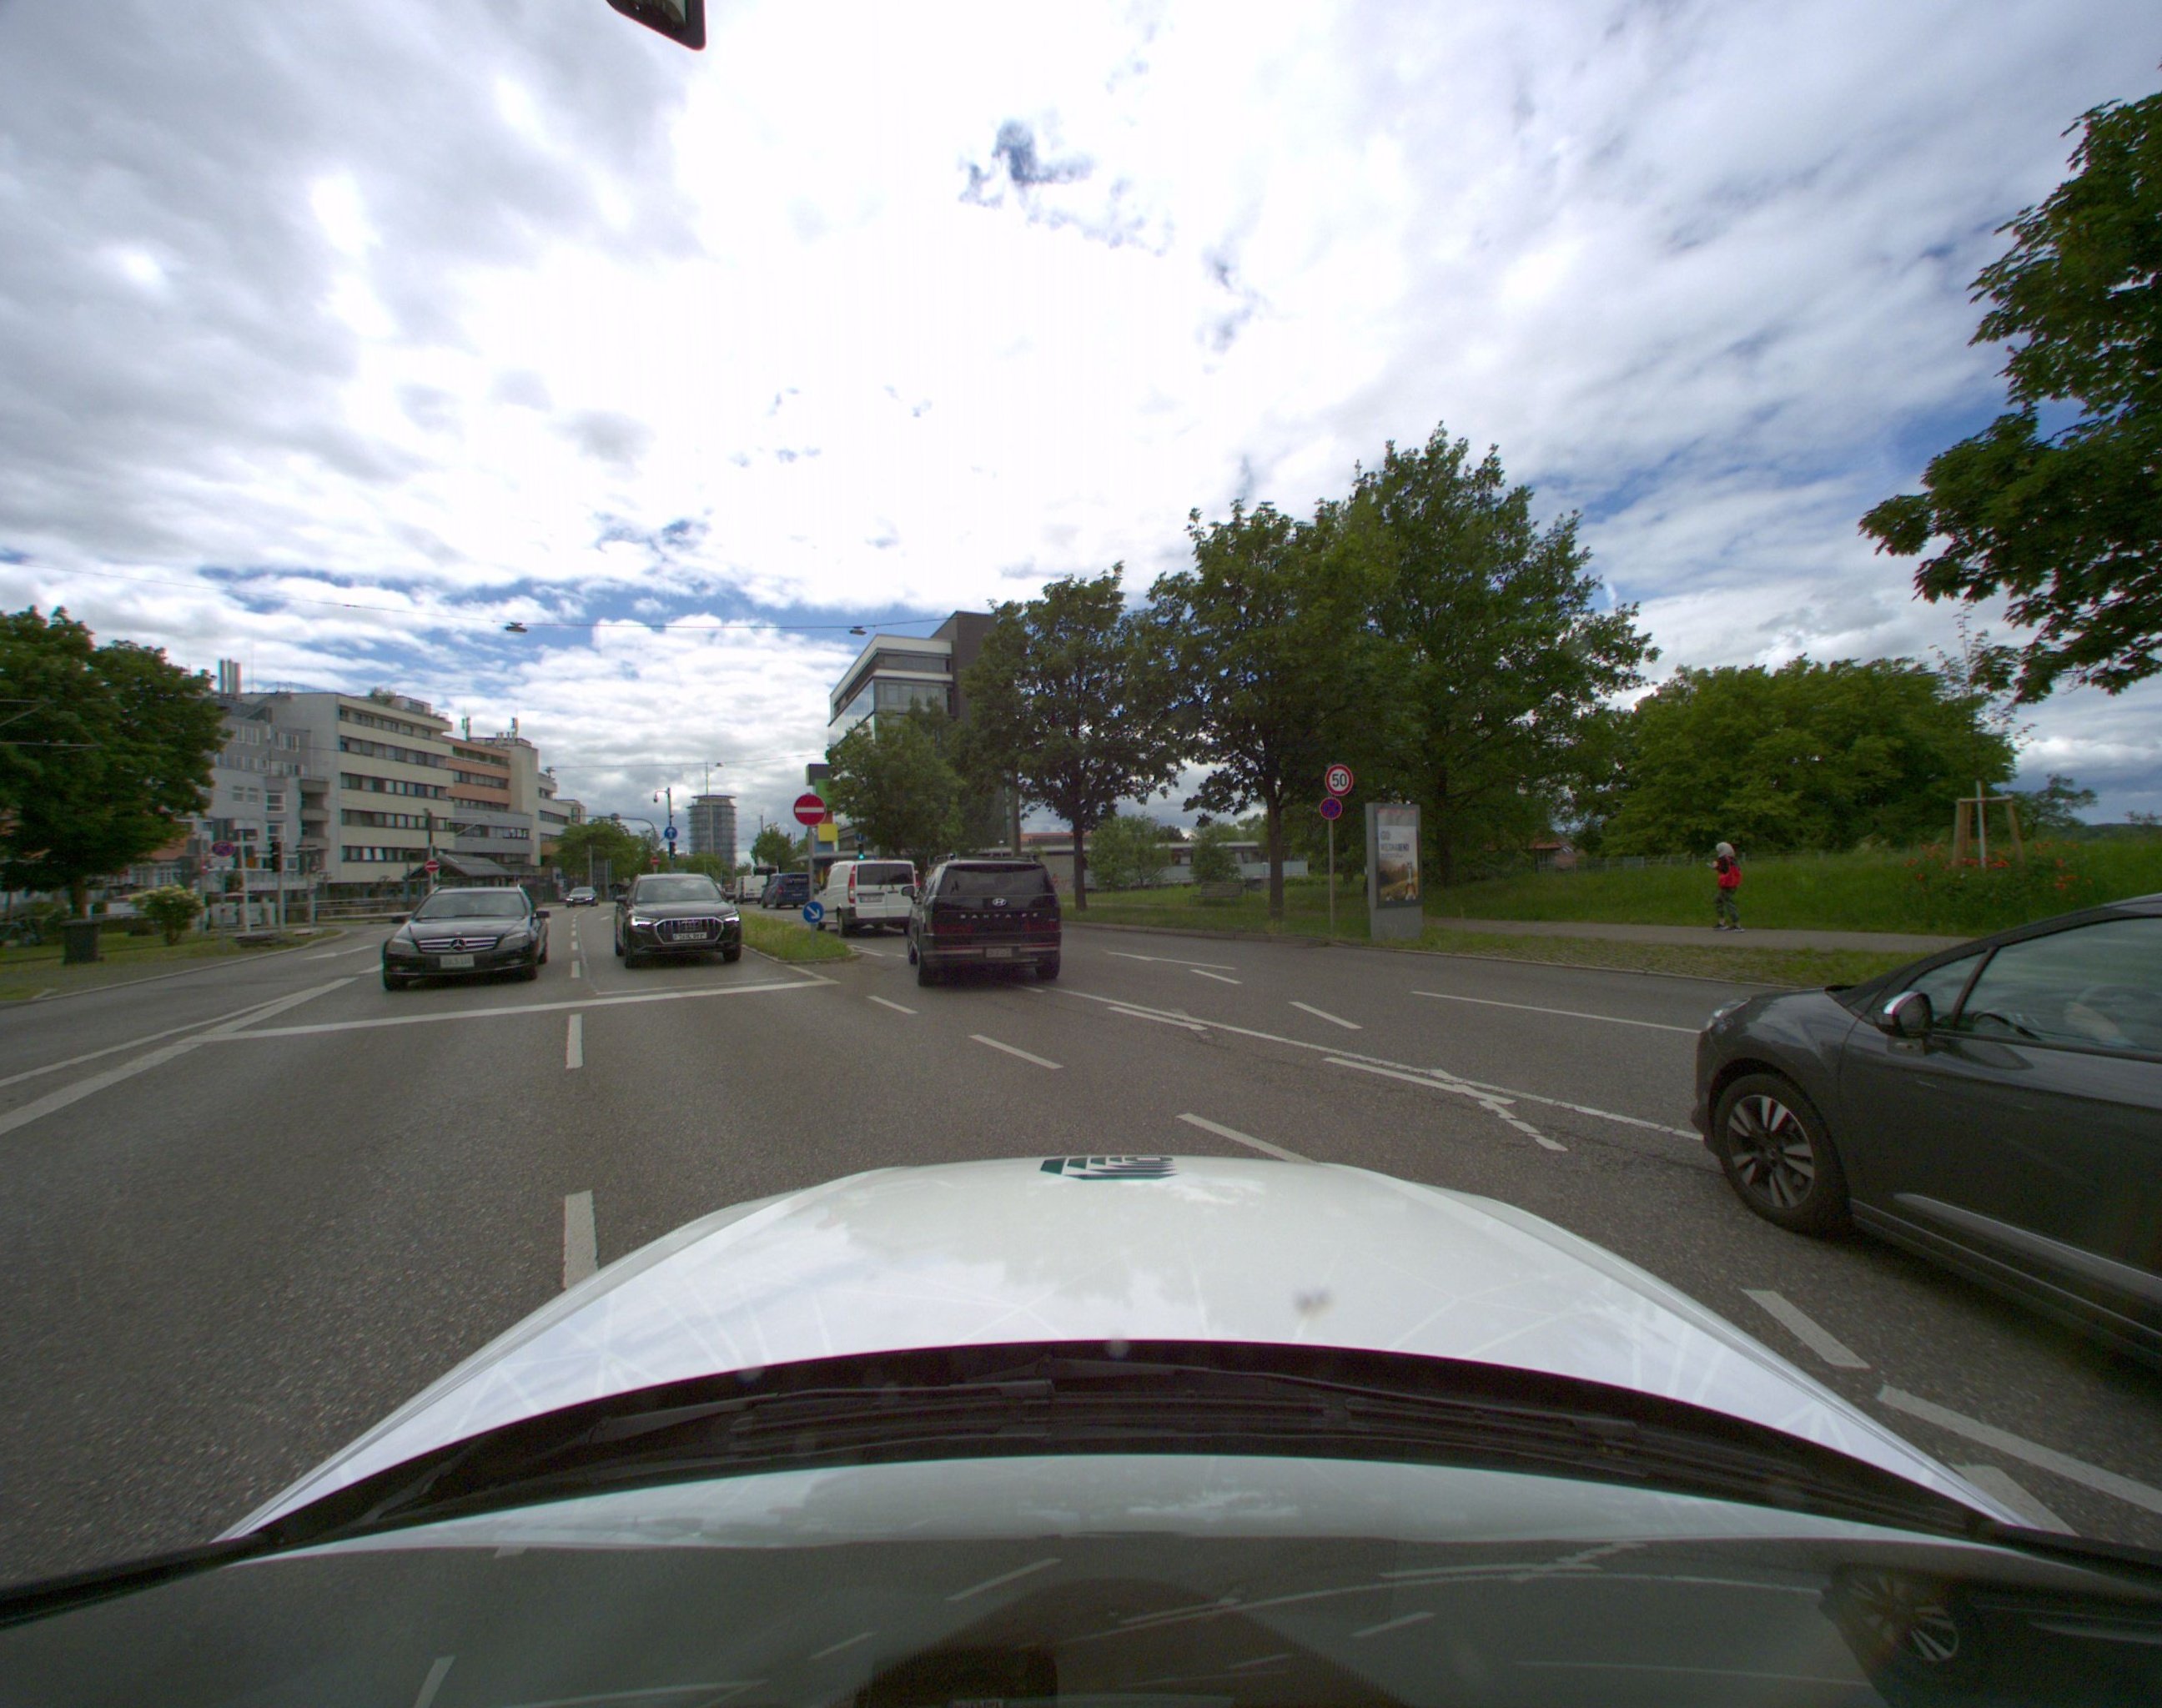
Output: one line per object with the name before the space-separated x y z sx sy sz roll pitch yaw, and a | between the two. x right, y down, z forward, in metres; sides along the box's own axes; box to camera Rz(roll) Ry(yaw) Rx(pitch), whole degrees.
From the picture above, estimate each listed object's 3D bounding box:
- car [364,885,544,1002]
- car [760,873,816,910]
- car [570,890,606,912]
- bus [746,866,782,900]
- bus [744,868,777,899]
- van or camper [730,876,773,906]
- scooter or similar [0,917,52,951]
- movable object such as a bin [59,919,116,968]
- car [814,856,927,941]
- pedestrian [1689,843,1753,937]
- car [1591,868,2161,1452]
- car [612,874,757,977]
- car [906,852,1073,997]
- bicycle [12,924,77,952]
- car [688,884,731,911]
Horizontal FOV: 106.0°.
car | -9.787 1.270 13.055 1.795 1.426 4.352 0 -1 -31
car | -15.799 1.993 43.767 1.915 1.859 4.662 1 -2 -31
car | -36.476 3.449 60.351 1.808 1.455 4.572 -1 -2 -26
bus | -32.581 3.022 83.409 2.980 3.116 9.170 -3 -1 -23
bus | -36.318 3.372 92.069 2.965 3.112 9.896 -3 -1 -23
van or camper | -22.980 2.517 56.643 2.007 1.918 4.363 0 -1 -33
scooter or similar | -35.832 2.713 27.660 0.491 1.045 1.169 0 -2 -18
movable object such as a bin | -22.718 2.033 18.633 0.567 1.012 0.830 -1 -2 -30
car | -5.672 1.105 21.525 1.912 1.969 4.594 0 -2 -27
pedestrian | 11.422 0.630 14.541 0.545 1.603 0.695 -6 2 -33
car | 3.575 0.771 2.454 1.694 1.461 4.065 0 -1 3
car | -7.489 1.180 15.153 1.901 1.564 4.350 0 -1 -33
car | -1.565 0.901 12.175 1.905 1.732 4.423 0 -2 -14
bicycle | -34.202 2.768 26.881 1.266 0.805 0.420 -1 -2 -29
car | -21.492 2.475 47.018 1.885 1.418 4.399 0 -2 -30
